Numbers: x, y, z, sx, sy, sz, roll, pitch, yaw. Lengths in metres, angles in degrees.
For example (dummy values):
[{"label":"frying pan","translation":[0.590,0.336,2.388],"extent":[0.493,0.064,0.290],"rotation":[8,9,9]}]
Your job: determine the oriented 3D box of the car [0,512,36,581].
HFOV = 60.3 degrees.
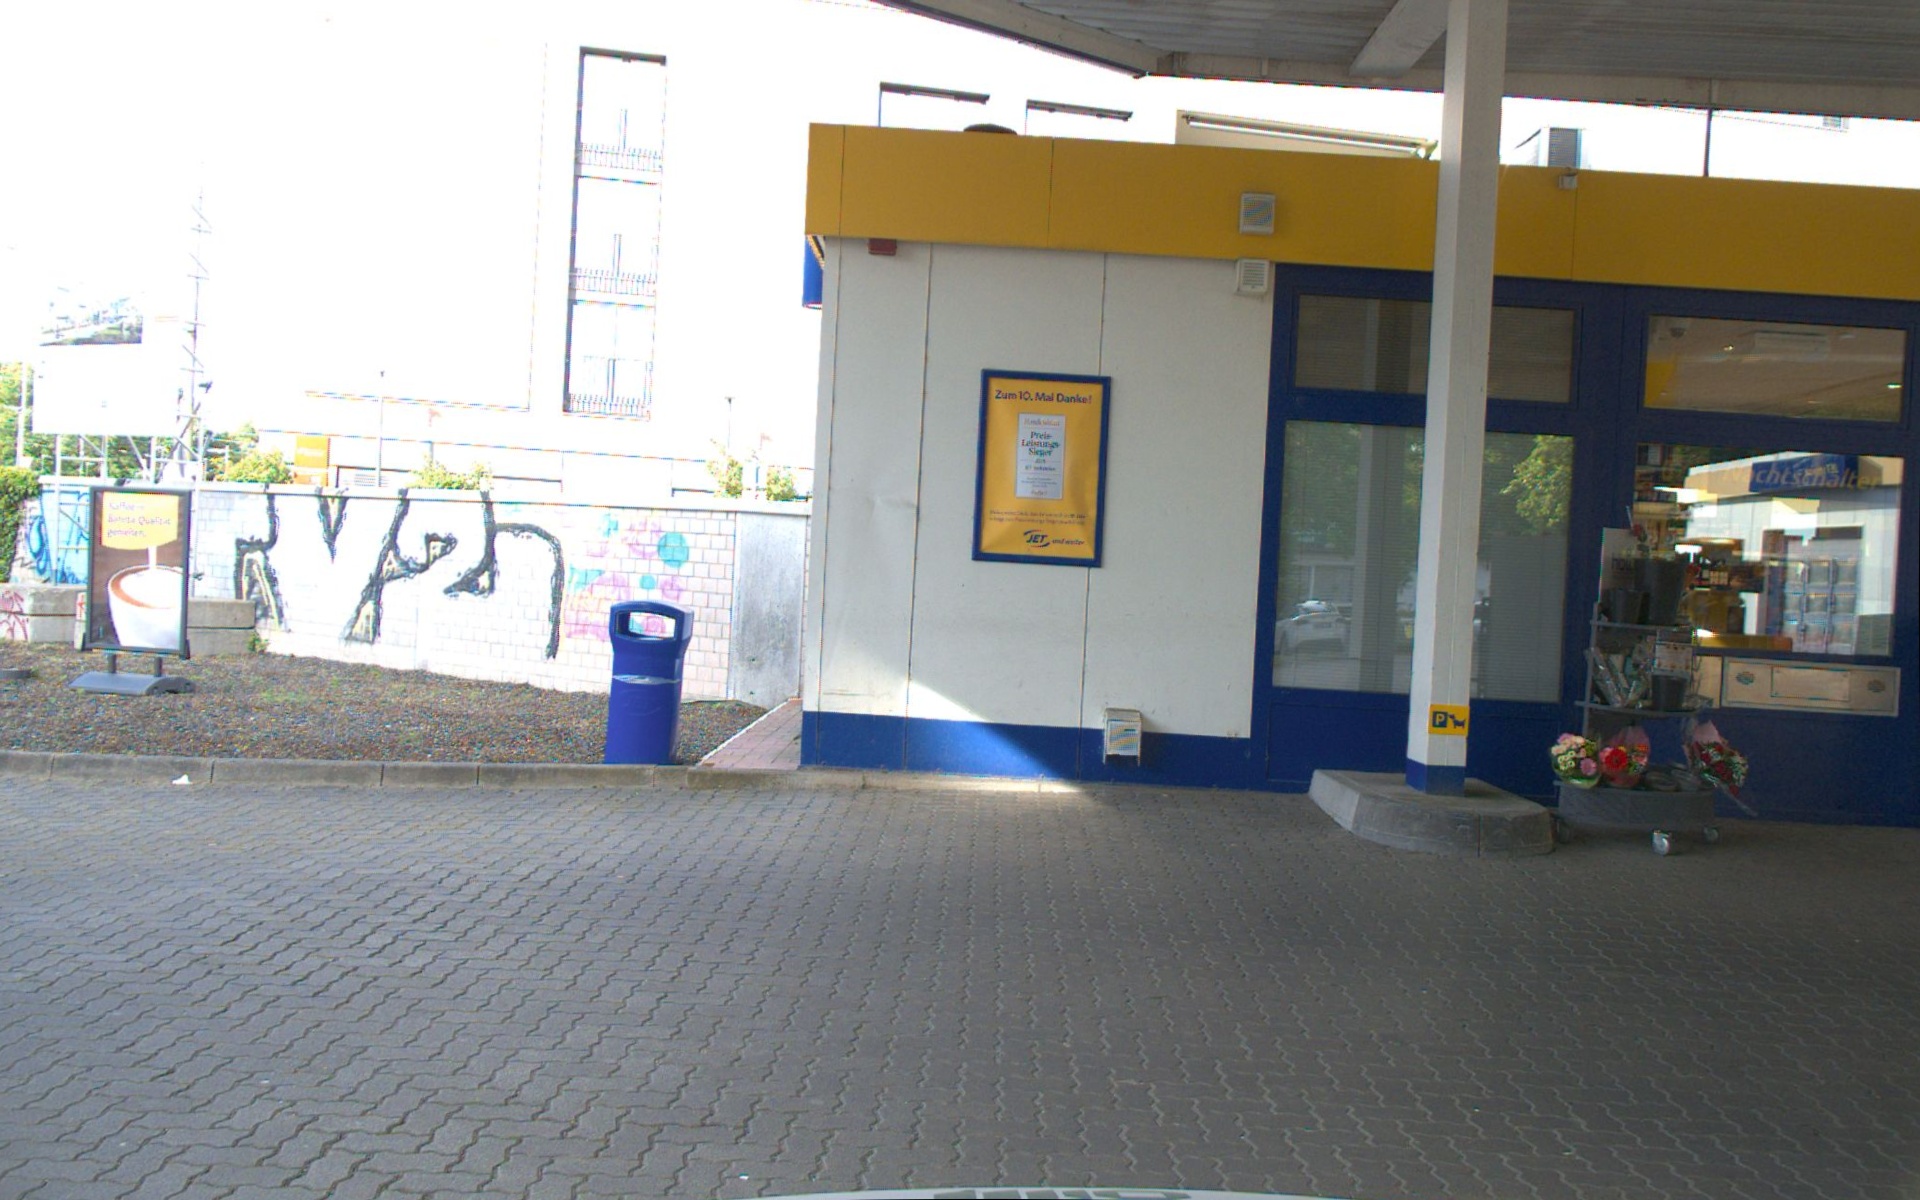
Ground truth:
[{"label":"car","translation":[-24.441,-1.370,40.866],"extent":[1.736,1.686,4.829],"rotation":[4,0,-17]}]
